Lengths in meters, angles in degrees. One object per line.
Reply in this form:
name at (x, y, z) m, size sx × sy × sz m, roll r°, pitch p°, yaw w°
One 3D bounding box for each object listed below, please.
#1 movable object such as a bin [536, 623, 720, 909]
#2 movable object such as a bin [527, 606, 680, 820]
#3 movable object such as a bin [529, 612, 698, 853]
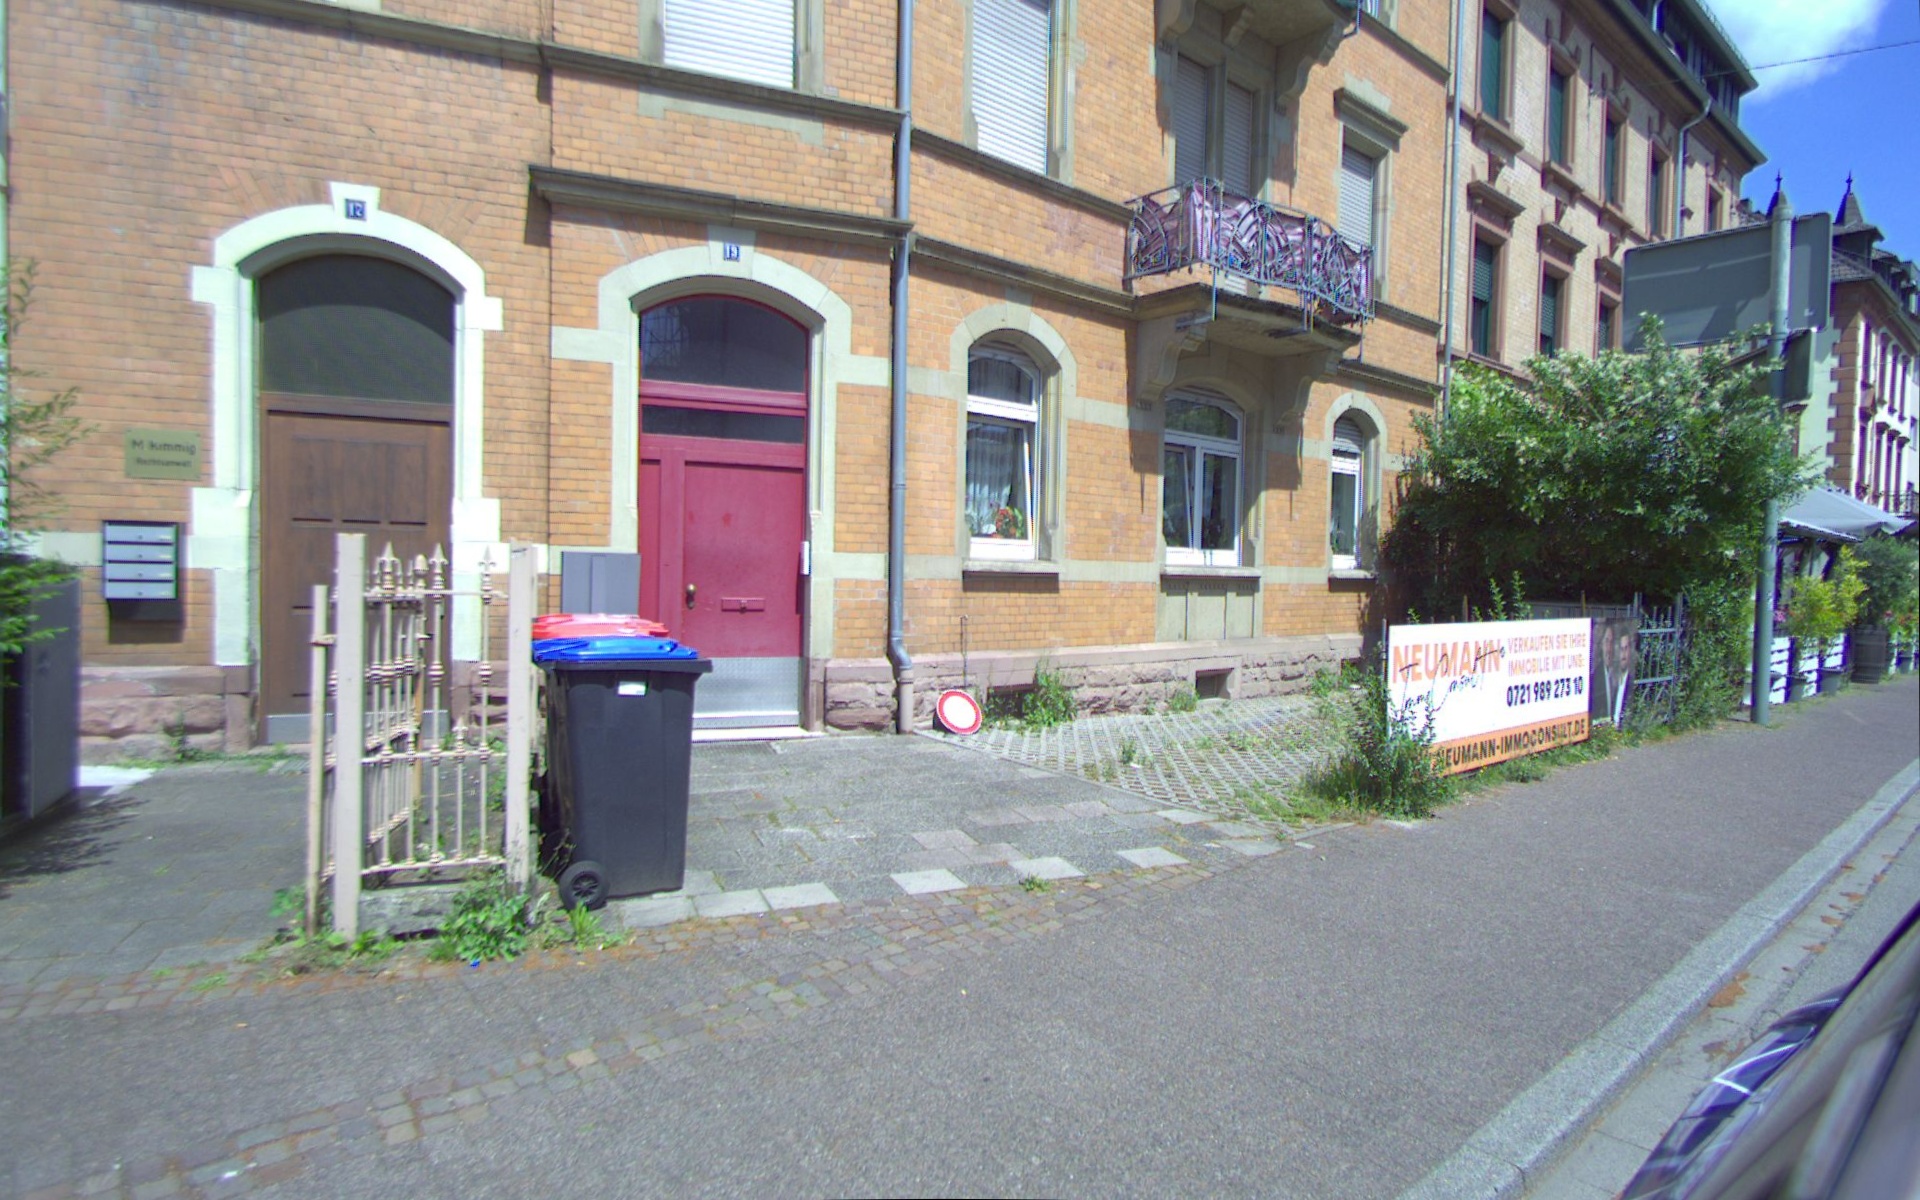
movable object such as a bin at (-1.456, 0.660, 4.403) m, size 0.624 × 1.084 × 0.652 m, roll 0°, pitch 1°, yaw -30°
movable object such as a bin at (-1.996, 0.586, 5.648) m, size 0.691 × 1.084 × 0.578 m, roll 0°, pitch 1°, yaw -31°
movable object such as a bin at (-1.747, 0.617, 5.087) m, size 0.691 × 1.084 × 0.554 m, roll 0°, pitch 1°, yaw -31°
